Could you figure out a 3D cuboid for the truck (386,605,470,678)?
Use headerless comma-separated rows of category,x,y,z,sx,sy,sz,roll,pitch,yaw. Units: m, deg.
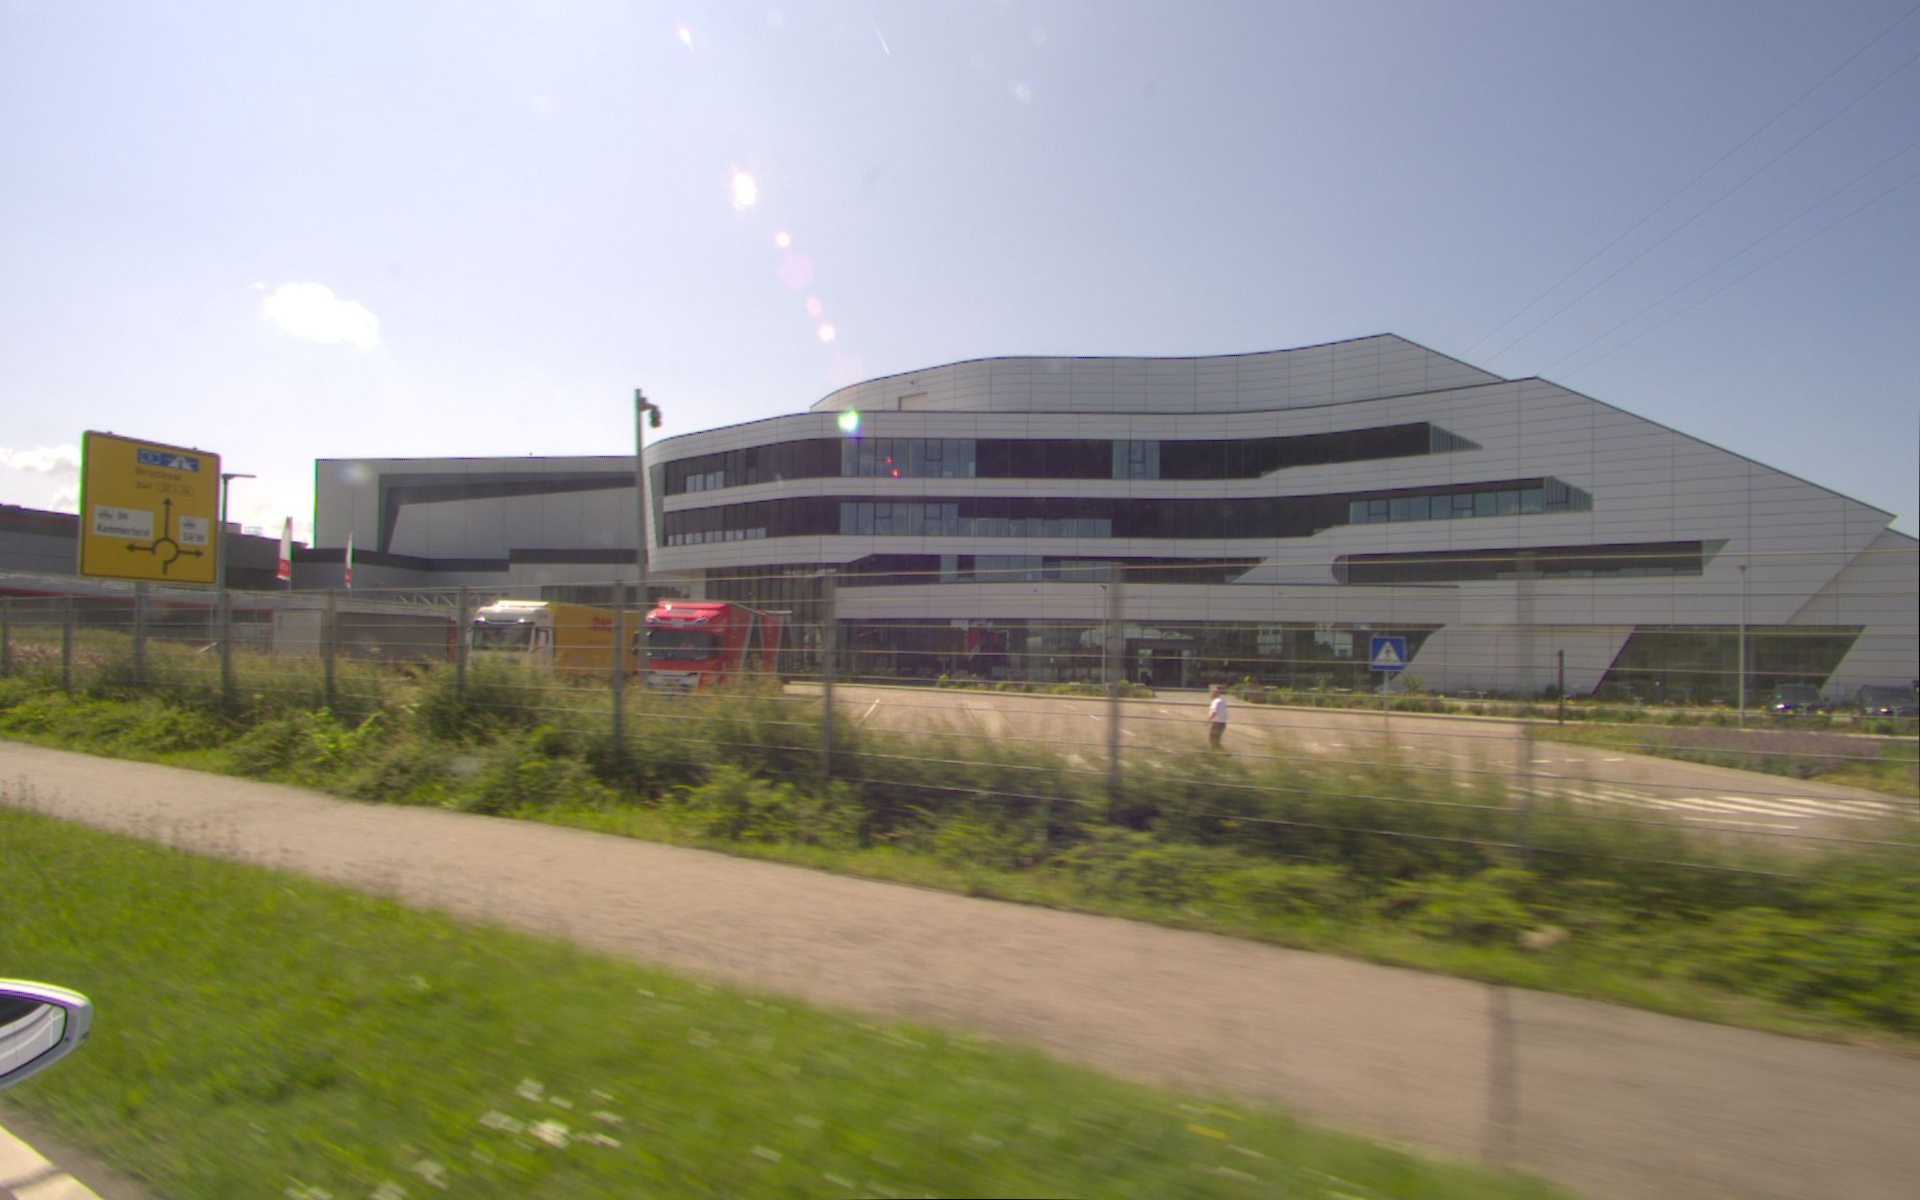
truck,-34.050,2.655,64.316,2.712,4.479,5.292,0,-1,-3

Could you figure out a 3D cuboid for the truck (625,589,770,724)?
truck,-9.434,1.976,37.538,2.970,4.310,10.977,0,-2,-2

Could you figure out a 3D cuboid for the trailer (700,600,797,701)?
trailer,-9.764,2.285,47.344,2.970,4.351,8.718,0,-1,-2

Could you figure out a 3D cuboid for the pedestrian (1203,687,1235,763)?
pedestrian,5.958,2.866,23.055,0.566,1.674,0.482,0,-2,35

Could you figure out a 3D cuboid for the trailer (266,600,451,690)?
trailer,-33.743,2.451,57.277,2.712,4.494,14.068,0,-2,-3

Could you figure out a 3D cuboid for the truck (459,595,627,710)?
truck,-17.132,2.083,42.248,2.767,4.226,10.978,0,-2,-2

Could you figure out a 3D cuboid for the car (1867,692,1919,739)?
car,34.962,4.261,37.254,1.452,1.553,3.040,0,-3,36

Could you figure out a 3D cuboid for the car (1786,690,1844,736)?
car,32.903,4.306,38.582,1.452,1.553,3.040,0,-3,36
